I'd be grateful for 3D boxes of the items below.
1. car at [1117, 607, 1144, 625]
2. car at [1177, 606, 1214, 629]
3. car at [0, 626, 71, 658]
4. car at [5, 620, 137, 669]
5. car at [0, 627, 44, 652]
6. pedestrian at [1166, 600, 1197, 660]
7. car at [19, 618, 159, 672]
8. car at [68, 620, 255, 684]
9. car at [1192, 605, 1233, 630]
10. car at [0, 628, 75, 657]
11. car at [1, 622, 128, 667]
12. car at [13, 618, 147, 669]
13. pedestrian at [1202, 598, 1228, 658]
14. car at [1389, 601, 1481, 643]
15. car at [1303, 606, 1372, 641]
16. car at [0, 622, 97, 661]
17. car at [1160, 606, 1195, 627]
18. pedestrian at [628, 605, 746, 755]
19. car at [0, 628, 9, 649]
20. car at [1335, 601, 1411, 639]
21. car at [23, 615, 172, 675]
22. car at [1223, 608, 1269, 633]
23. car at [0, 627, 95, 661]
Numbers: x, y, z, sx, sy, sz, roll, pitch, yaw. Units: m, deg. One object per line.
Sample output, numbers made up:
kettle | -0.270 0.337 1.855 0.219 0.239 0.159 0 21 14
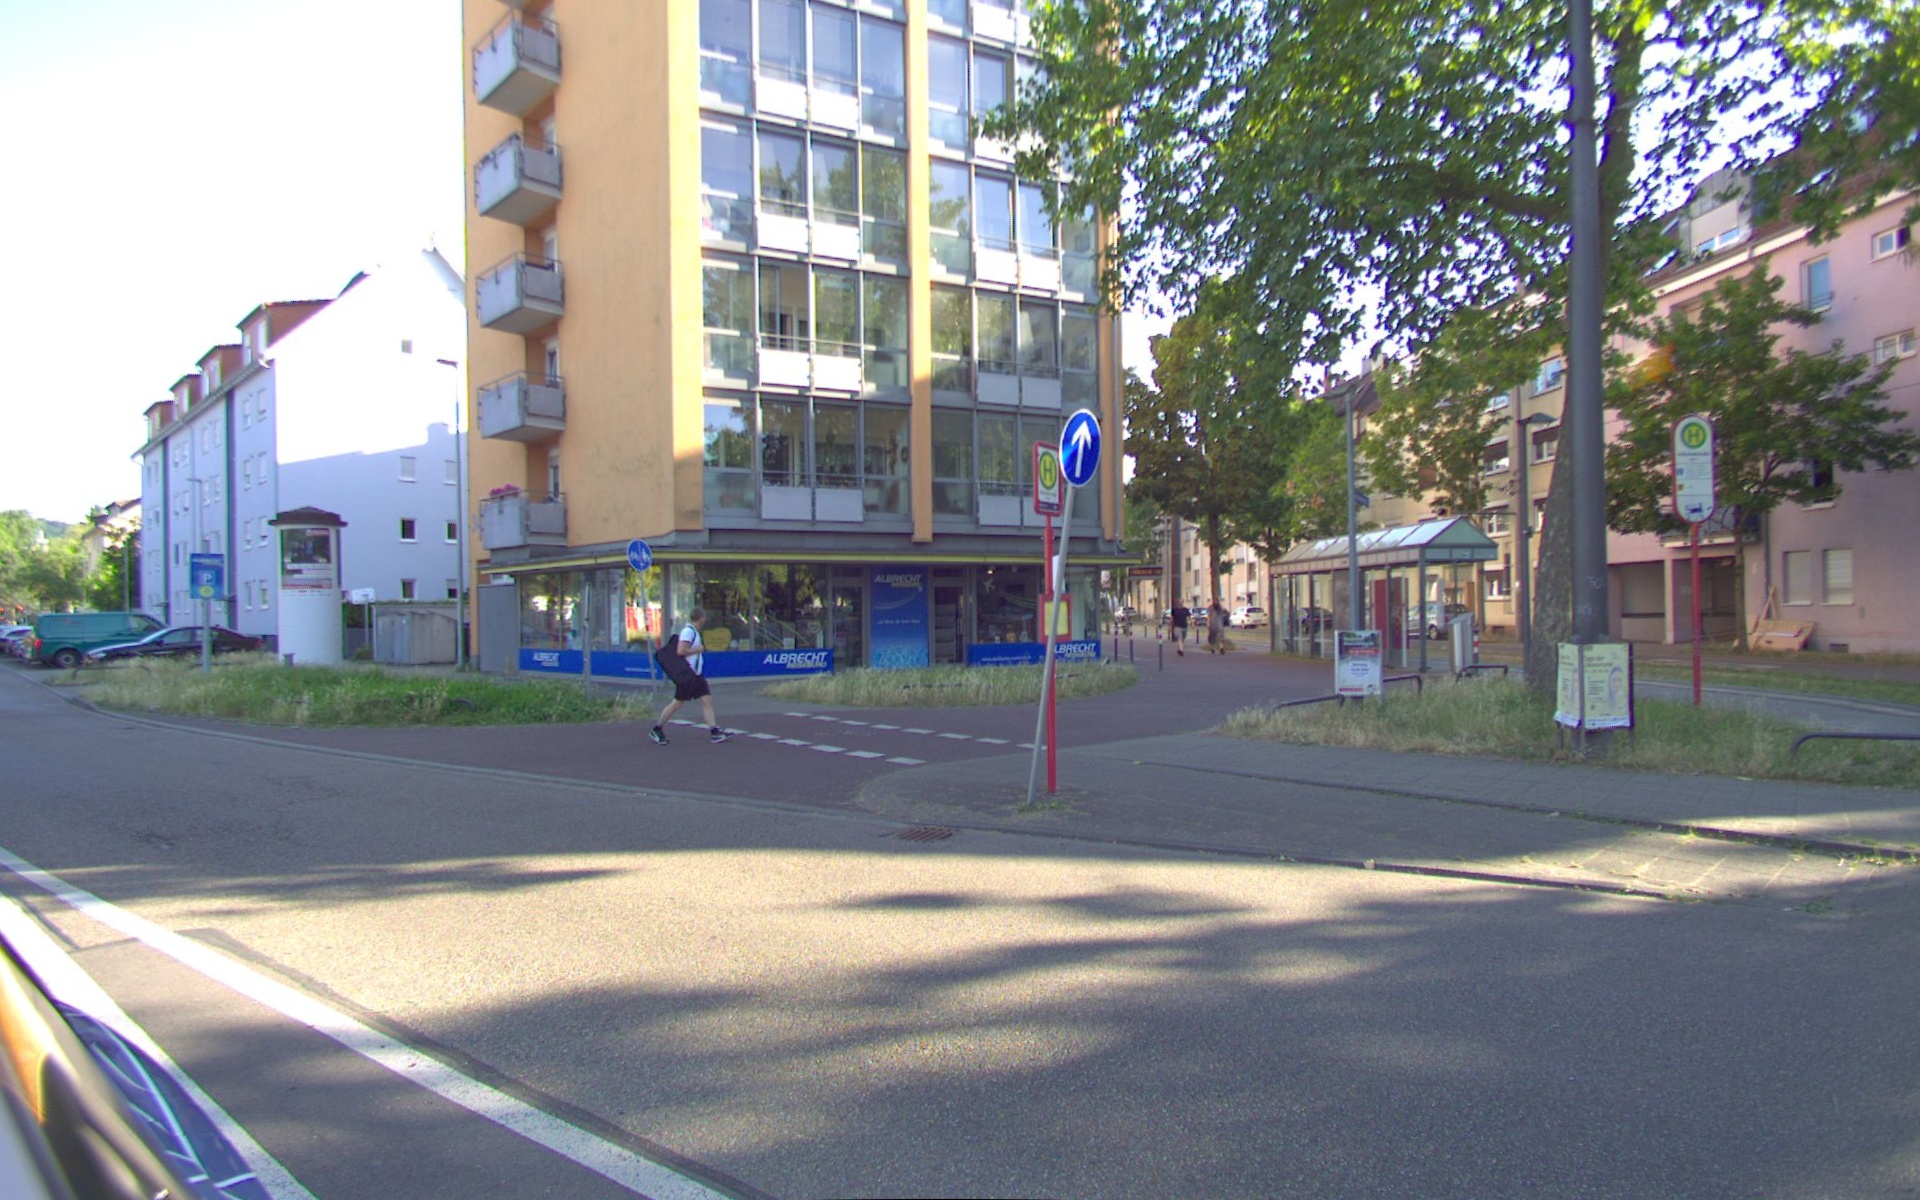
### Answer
car | 17.736 1.646 105.509 1.911 1.719 4.372 -1 0 -3
car | 18.642 1.358 80.344 1.771 1.719 4.170 -1 0 -3
car | -55.793 2.483 60.434 4.016 1.765 1.900 -1 0 -44
car | -36.858 1.815 42.011 4.003 1.829 1.938 -1 0 -44
car | -63.496 2.615 66.993 4.199 1.585 1.867 -1 0 -44
pedestrian | 6.609 0.884 30.220 0.803 1.763 0.538 -1 0 6
car | -33.121 1.656 38.530 3.941 1.829 2.001 -1 0 -44
car | -24.273 1.515 30.864 4.361 1.674 2.003 -1 0 -41
car | 18.704 1.273 75.155 1.808 1.719 4.059 -1 0 -3
car | -55.660 2.512 60.380 4.199 1.585 1.867 -1 0 -44
car | -38.828 1.873 43.929 4.016 1.765 1.900 -1 0 -44
car | -35.121 1.682 40.432 3.941 1.829 2.001 -1 0 -44
pedestrian | 7.567 0.821 30.043 0.622 1.763 0.689 -1 0 6
car | 20.746 0.912 44.430 1.911 1.719 4.115 -1 0 -3
car | 19.916 1.207 53.598 1.911 1.719 4.115 -1 0 -3
car | -46.118 2.047 50.865 4.061 1.785 1.758 -1 0 -44
car | 18.431 1.400 85.798 1.830 1.719 4.170 -1 0 -3
pedestrian | -3.358 0.947 12.502 1.080 1.750 0.897 -1 0 19
car | -74.759 3.000 76.962 3.490 1.585 1.867 -1 0 -44
car | 19.905 0.923 48.985 1.911 1.719 3.827 -1 0 -3
car | -31.216 1.564 36.687 2.001 1.962 3.942 -1 0 44
car | 19.172 1.352 68.050 1.741 1.588 4.049 -1 0 -3
car | -48.120 2.284 52.956 4.199 1.585 1.867 -1 0 -44
